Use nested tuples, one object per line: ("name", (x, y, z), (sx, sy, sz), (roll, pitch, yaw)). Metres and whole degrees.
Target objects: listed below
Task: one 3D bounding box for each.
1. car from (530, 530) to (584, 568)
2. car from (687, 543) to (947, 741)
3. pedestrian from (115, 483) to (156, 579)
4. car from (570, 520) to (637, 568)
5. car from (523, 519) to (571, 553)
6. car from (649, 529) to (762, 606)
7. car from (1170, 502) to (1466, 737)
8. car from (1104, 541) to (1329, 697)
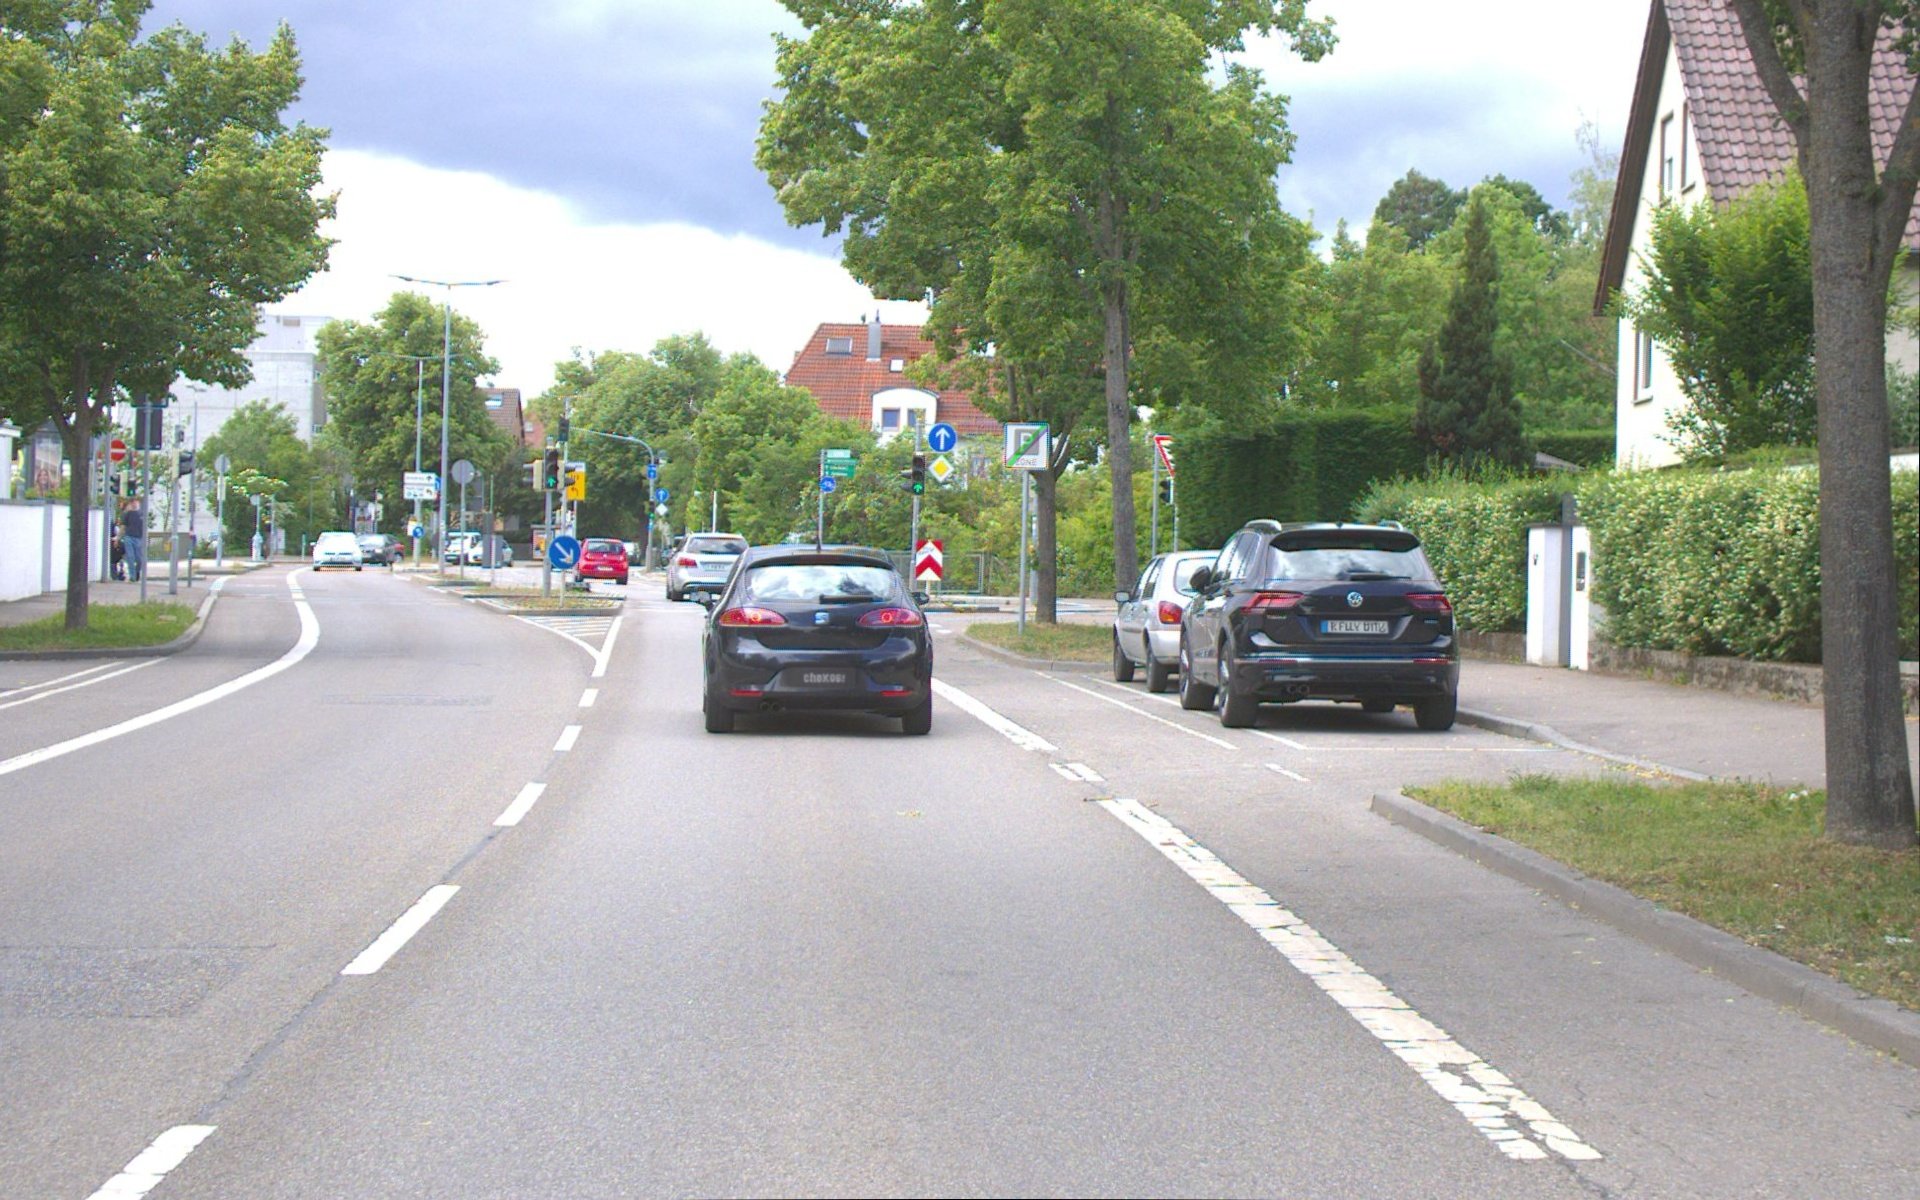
("car", (-17.209, -2.177, 146.899), (1.993, 1.503, 4.000), (2, 0, -3))
("car", (-1.199, 0.291, 27.253), (1.783, 1.444, 3.559), (1, 1, -7))
("pedestrian", (-17.988, -1.502, 75.016), (0.752, 2.047, 0.725), (2, 0, -7))
("car", (-11.713, -1.839, 112.705), (1.993, 1.525, 4.001), (1, 1, -9))
("car", (-20.886, -3.225, 173.976), (1.973, 1.670, 3.877), (1, 1, -1))
("car", (-5.504, -0.725, 74.039), (1.993, 1.552, 4.001), (-2, 2, -10))
("car", (2.860, 0.124, 28.279), (1.788, 1.765, 3.983), (1, 1, -3))
("car", (2.498, 0.160, 34.222), (1.685, 1.444, 3.580), (1, 1, -4))
